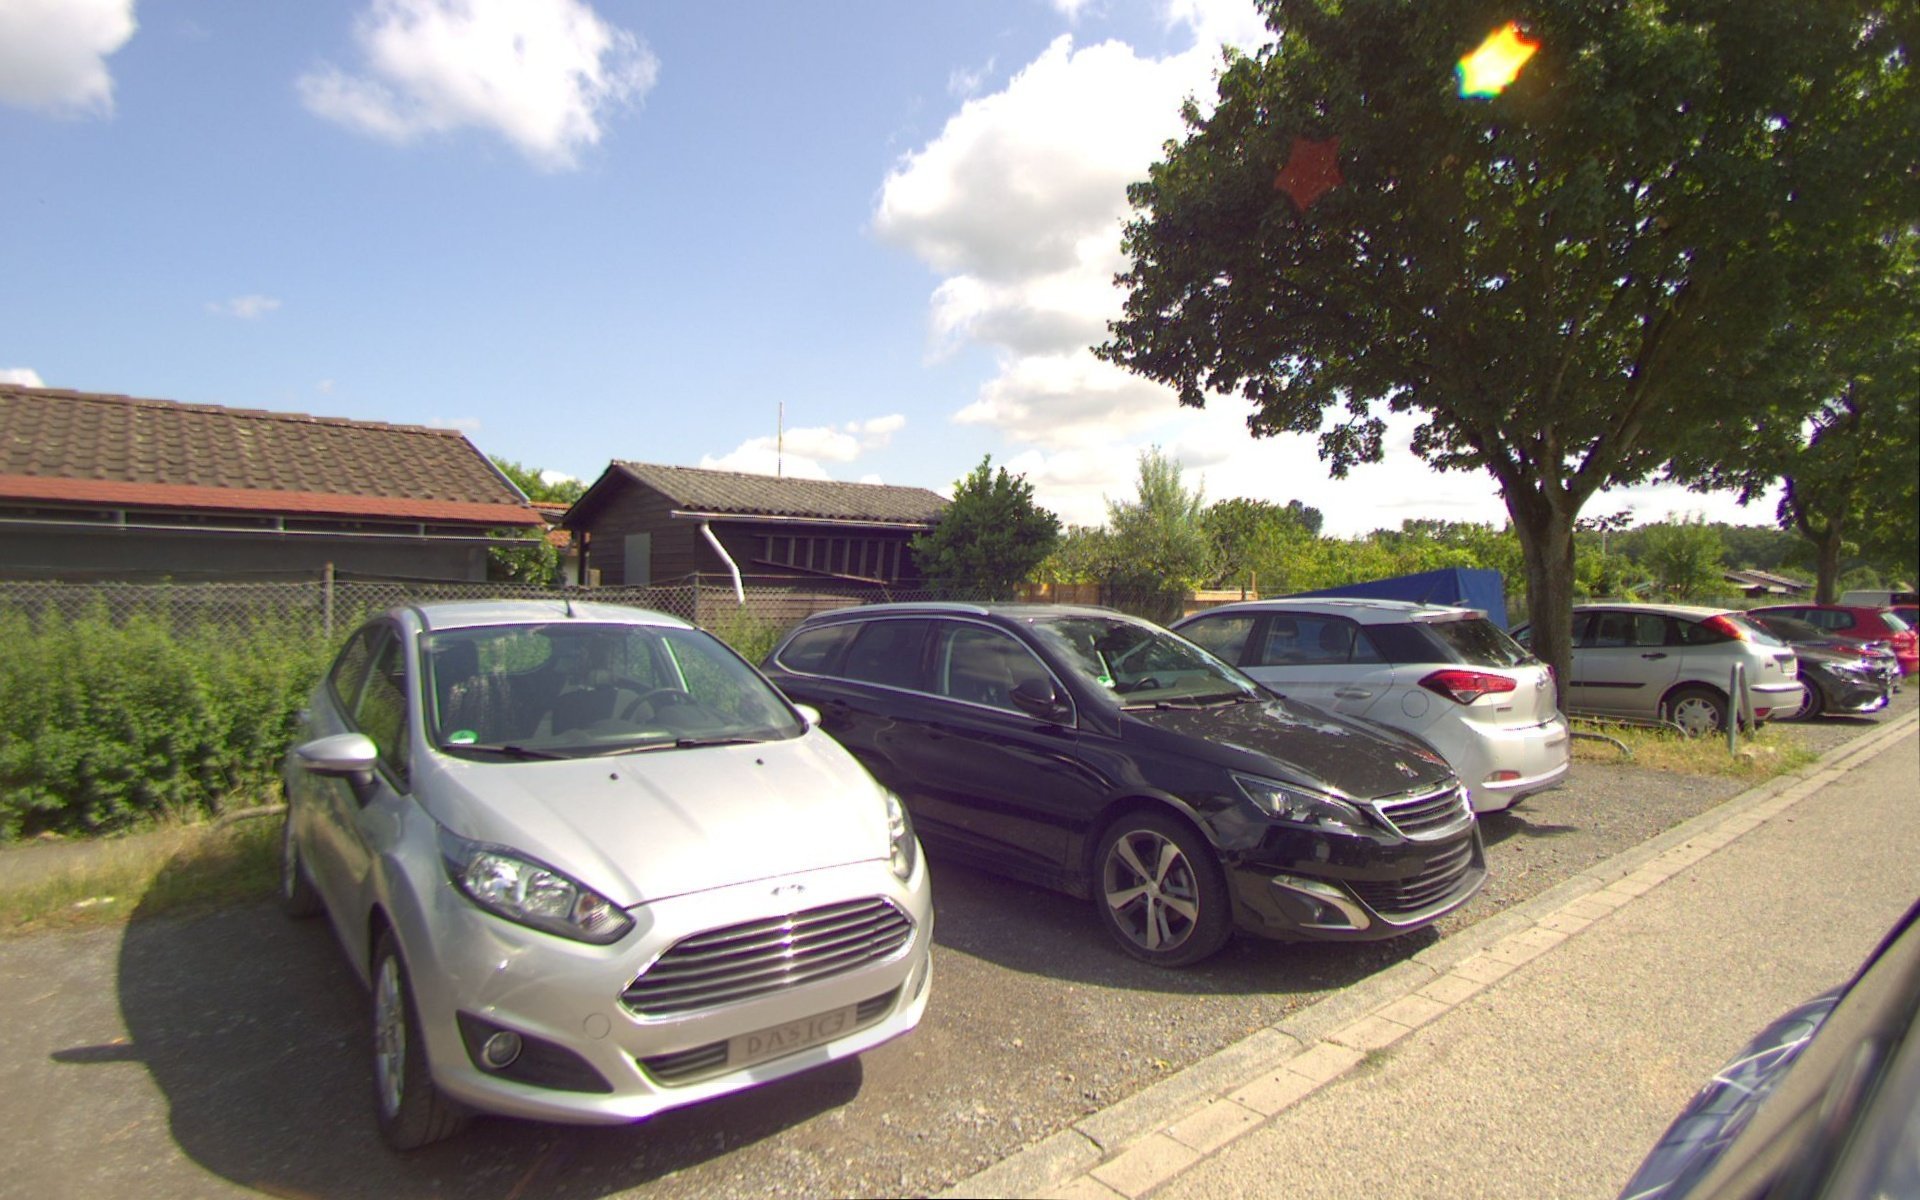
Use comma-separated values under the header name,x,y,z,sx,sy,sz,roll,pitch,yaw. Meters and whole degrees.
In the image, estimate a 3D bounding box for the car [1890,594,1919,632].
name,x,y,z,sx,sy,sz,roll,pitch,yaw
car,39.278,0.529,39.263,1.966,1.484,4.583,0,0,-43

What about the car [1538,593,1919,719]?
name,x,y,z,sx,sy,sz,roll,pitch,yaw
car,10.555,0.671,14.005,1.838,1.474,4.070,0,0,-42

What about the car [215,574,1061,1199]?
name,x,y,z,sx,sy,sz,roll,pitch,yaw
car,-1.631,0.712,4.007,1.869,1.511,3.819,0,0,-40

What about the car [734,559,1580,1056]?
name,x,y,z,sx,sy,sz,roll,pitch,yaw
car,0.663,0.681,5.584,1.965,1.614,4.309,0,0,-40

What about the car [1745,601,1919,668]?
name,x,y,z,sx,sy,sz,roll,pitch,yaw
car,21.027,0.753,23.457,1.877,1.446,4.241,0,0,-43

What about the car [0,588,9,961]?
name,x,y,z,sx,sy,sz,roll,pitch,yaw
car,-3.536,0.701,2.178,1.941,1.511,4.343,0,0,-40

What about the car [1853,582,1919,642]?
name,x,y,z,sx,sy,sz,roll,pitch,yaw
car,32.219,0.415,32.846,2.075,1.910,4.642,0,2,-41

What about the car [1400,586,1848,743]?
name,x,y,z,sx,sy,sz,roll,pitch,yaw
car,7.706,0.638,12.105,1.921,1.530,4.075,-1,0,-37

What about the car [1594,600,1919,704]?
name,x,y,z,sx,sy,sz,roll,pitch,yaw
car,12.799,0.738,16.333,1.921,1.442,3.920,-1,0,-37

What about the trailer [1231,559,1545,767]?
name,x,y,z,sx,sy,sz,roll,pitch,yaw
trailer,4.132,0.546,9.910,1.493,1.742,2.451,1,-1,-44

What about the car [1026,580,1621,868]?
name,x,y,z,sx,sy,sz,roll,pitch,yaw
car,2.467,0.678,7.480,1.819,1.559,3.727,0,0,-43

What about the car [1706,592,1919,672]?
name,x,y,z,sx,sy,sz,roll,pitch,yaw
car,18.754,0.638,22.009,1.837,1.594,3.770,0,0,-40

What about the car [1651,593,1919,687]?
name,x,y,z,sx,sy,sz,roll,pitch,yaw
car,15.326,0.665,18.562,1.820,1.539,3.998,0,0,-36

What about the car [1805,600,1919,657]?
name,x,y,z,sx,sy,sz,roll,pitch,yaw
car,26.390,0.769,28.104,1.844,1.523,4.192,0,0,-39
